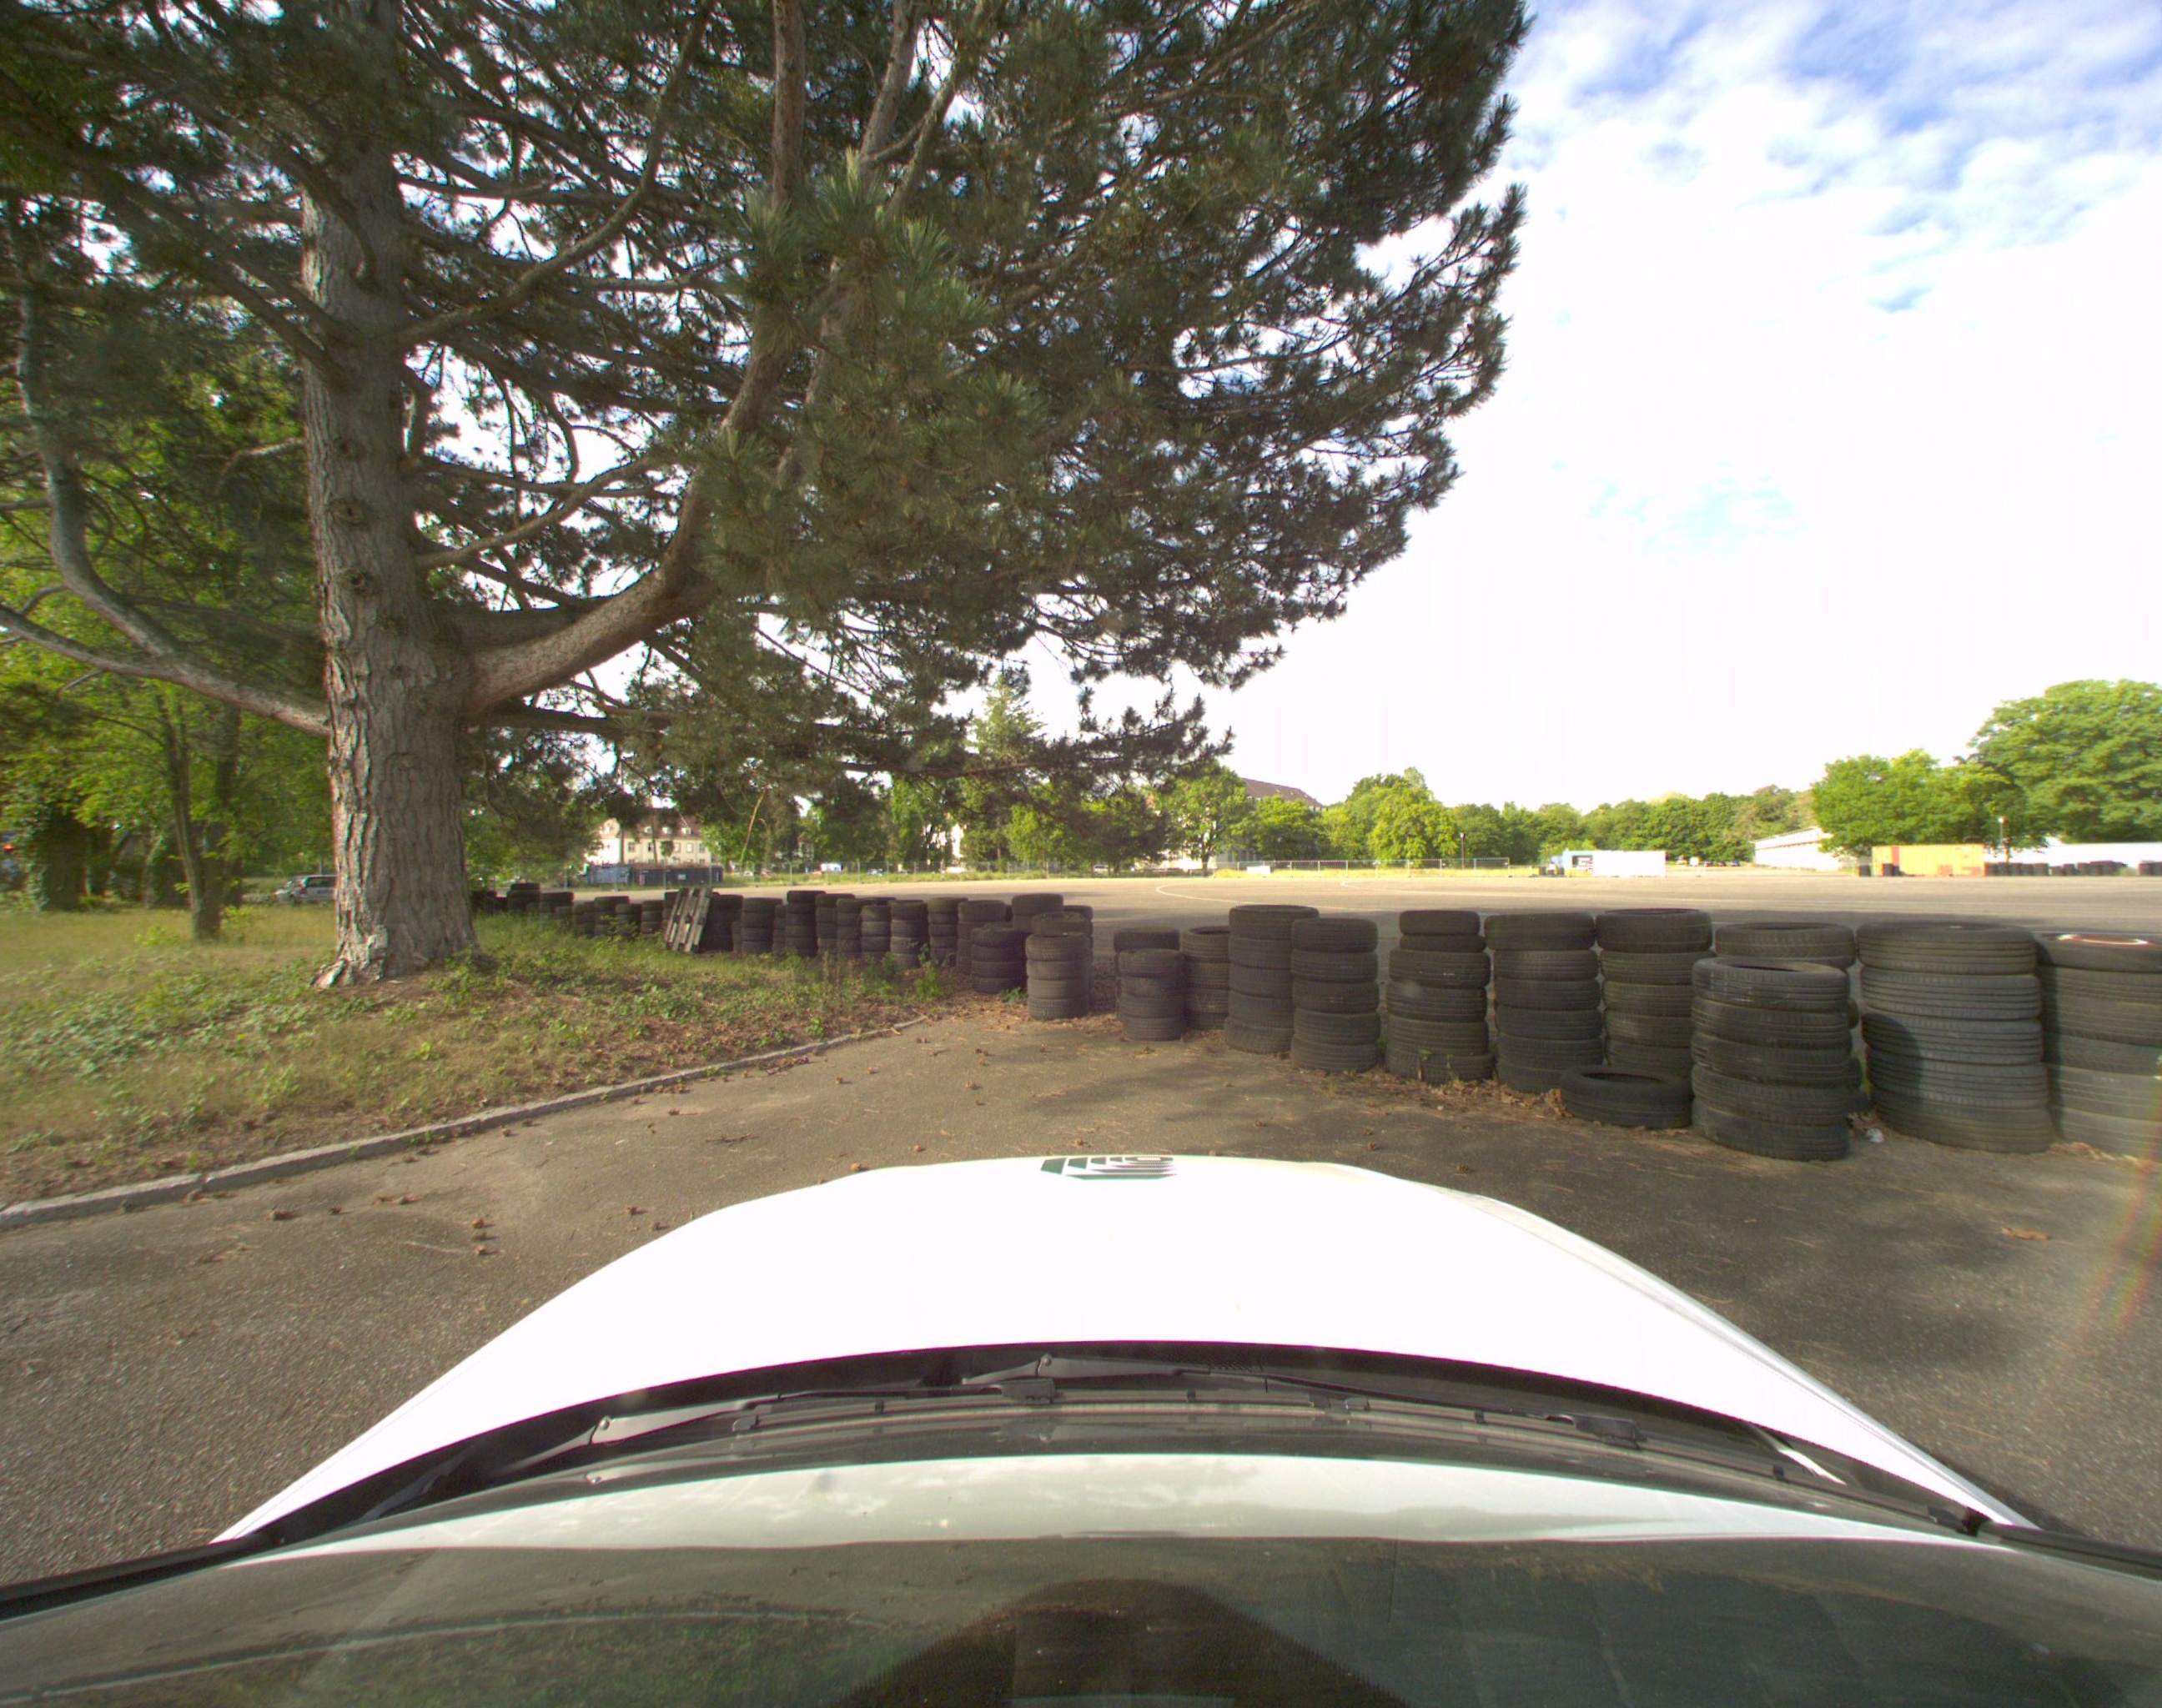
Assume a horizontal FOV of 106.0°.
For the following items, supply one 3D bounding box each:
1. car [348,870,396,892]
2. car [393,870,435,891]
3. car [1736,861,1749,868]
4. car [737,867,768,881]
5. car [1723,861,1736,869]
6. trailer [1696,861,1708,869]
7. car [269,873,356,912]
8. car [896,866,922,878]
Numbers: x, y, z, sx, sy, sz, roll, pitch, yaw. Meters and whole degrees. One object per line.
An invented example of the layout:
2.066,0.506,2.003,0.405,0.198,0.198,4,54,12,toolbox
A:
-56.147,2.119,64.480,3.948,1.618,2.013,-1,-1,37,car
-54.727,2.144,66.817,3.948,1.618,1.838,-1,-1,39,car
155.896,2.456,191.845,1.974,1.750,4.025,-1,-1,33,car
-41.716,2.582,103.355,3.949,1.750,2.012,-1,-1,41,car
153.855,2.598,193.310,2.011,1.809,4.025,-1,-1,33,car
150.577,2.601,197.474,2.038,2.014,4.025,-1,-1,35,trailer
-32.454,1.577,34.376,3.948,1.541,1.904,-1,-1,35,car
-26.181,2.788,123.825,2.011,1.750,3.951,0,-1,-44,car
